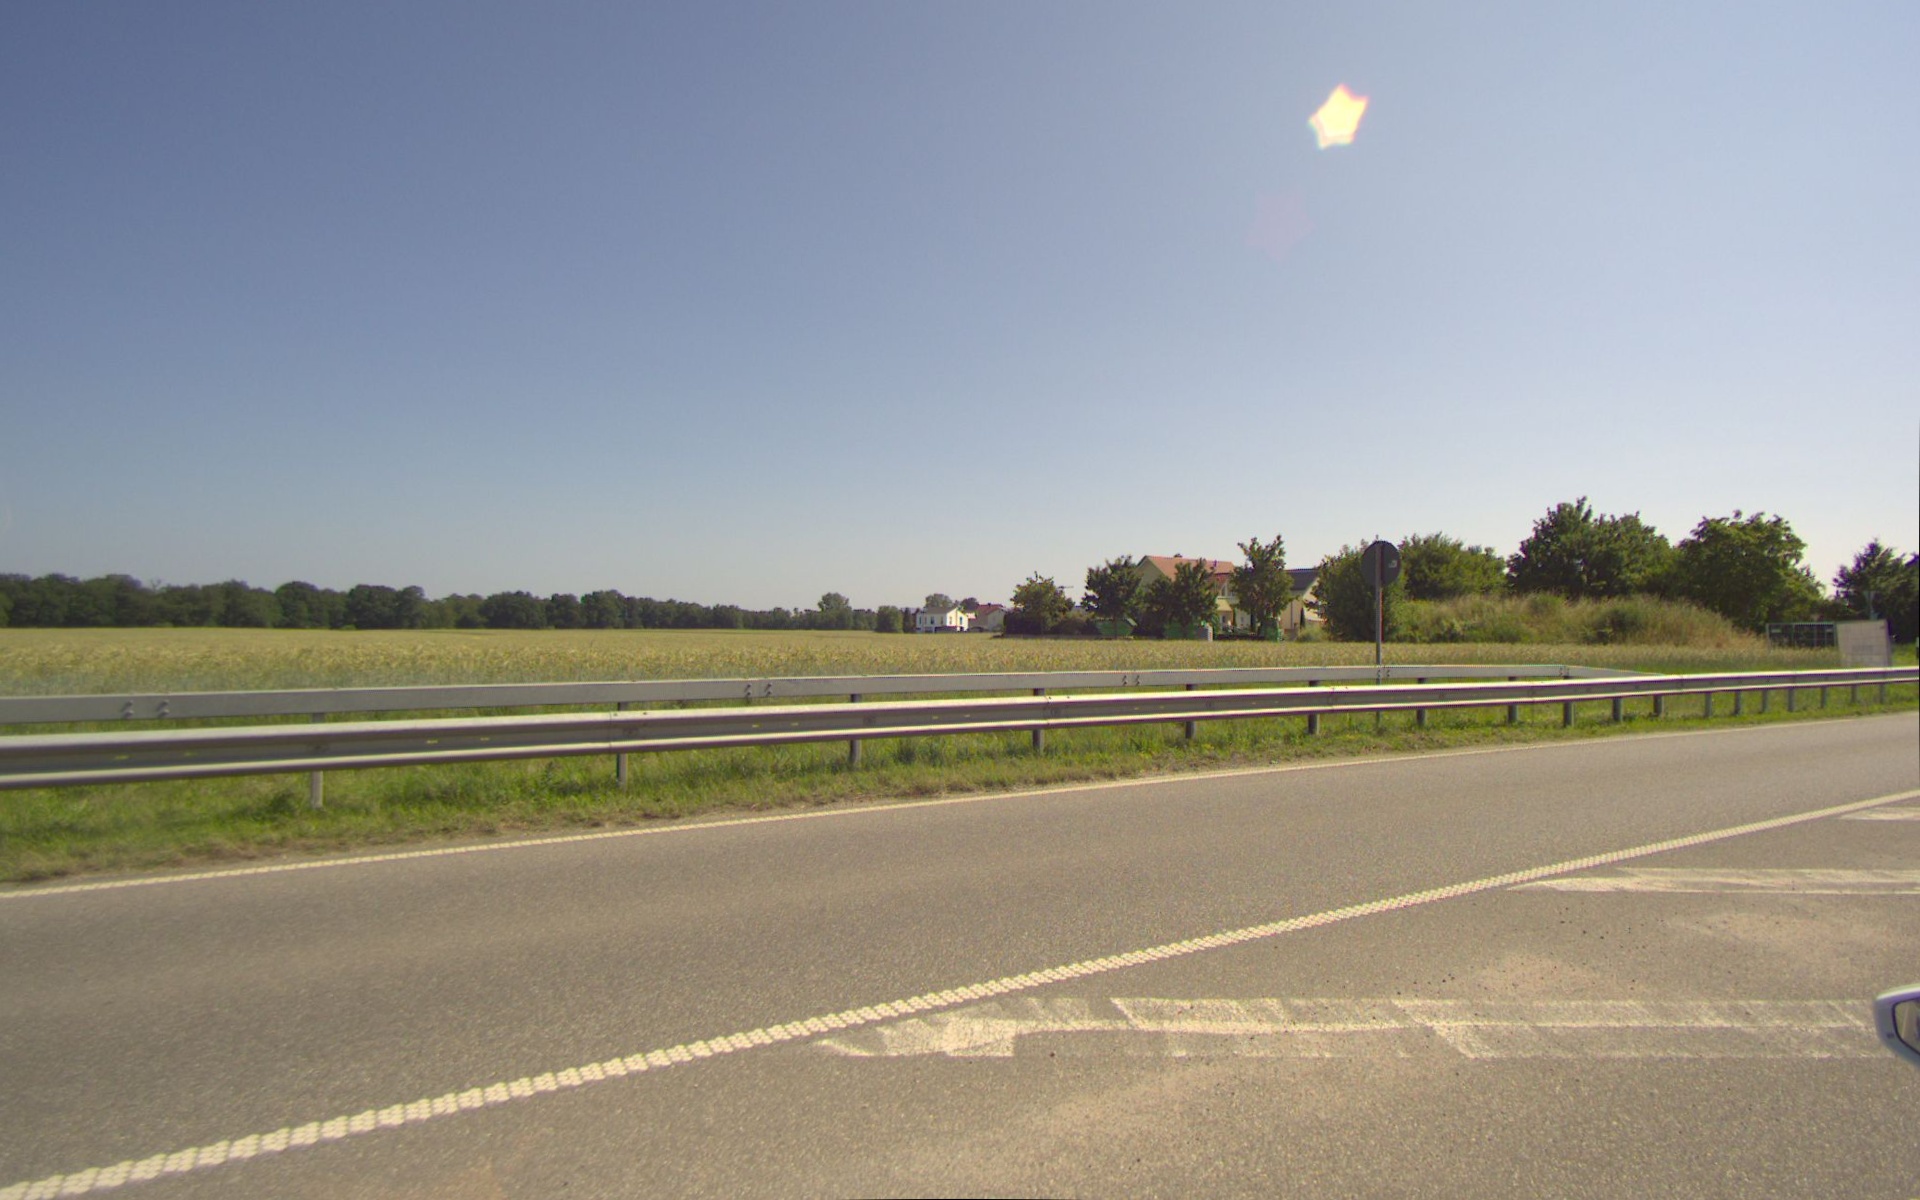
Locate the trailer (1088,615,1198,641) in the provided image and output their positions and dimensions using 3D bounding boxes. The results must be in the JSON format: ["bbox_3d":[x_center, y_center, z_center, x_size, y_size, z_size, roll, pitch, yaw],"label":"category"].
[{"bbox_3d":[17.803,2.714,98.058,10.292,2.308,1.999,1,-1,24],"label":"trailer"}]

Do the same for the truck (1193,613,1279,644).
[{"bbox_3d":[25.953,2.661,94.456,7.540,2.684,2.520,0,-1,24],"label":"truck"}]
